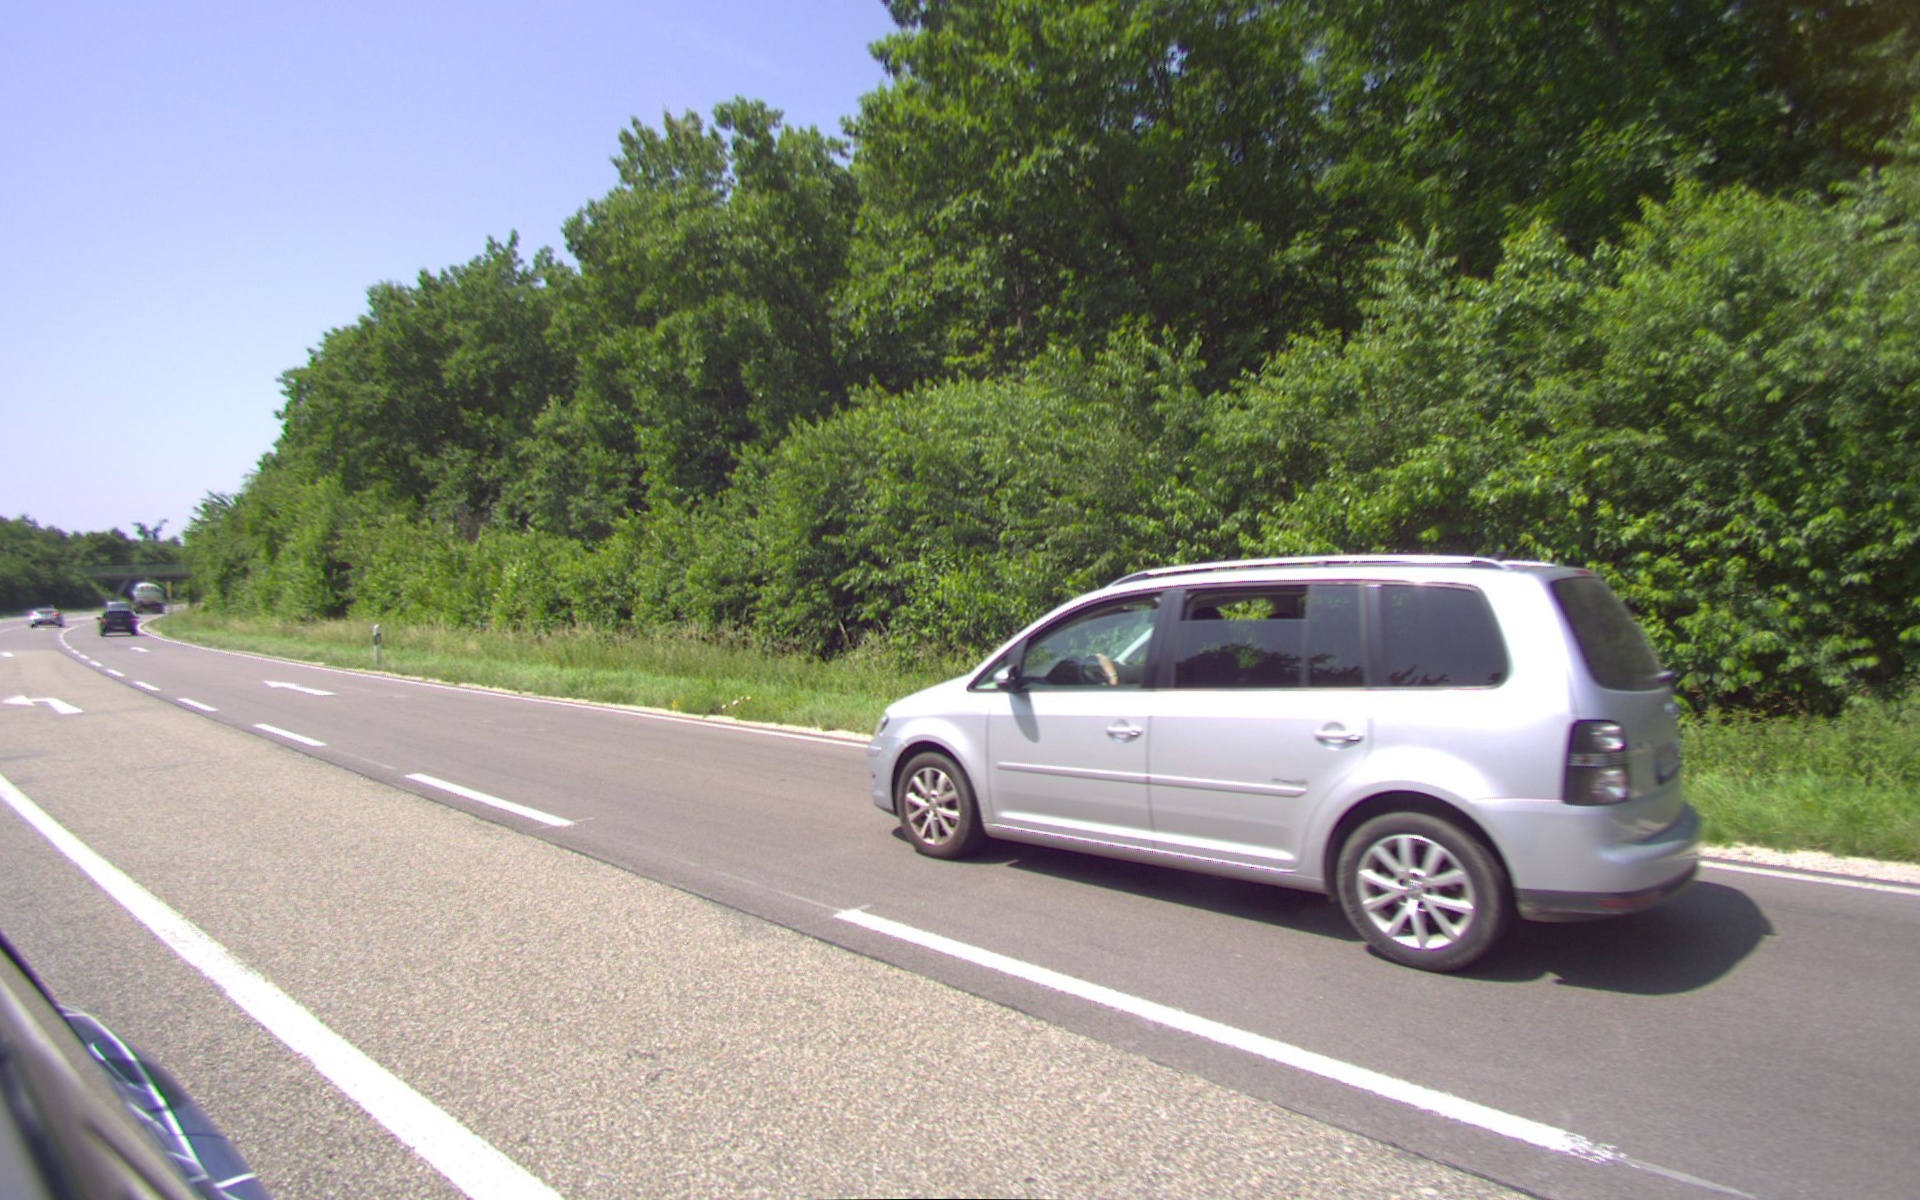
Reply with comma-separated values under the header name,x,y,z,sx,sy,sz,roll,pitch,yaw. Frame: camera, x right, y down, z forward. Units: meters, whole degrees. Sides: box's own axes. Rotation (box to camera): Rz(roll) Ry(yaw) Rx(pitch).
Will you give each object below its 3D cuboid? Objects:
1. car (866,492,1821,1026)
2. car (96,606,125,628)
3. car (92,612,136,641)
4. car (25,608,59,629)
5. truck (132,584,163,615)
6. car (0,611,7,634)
name,x,y,z,sx,sy,sz,roll,pitch,yaw
car,1.631,0.502,5.189,4.209,1.649,1.784,-1,0,41
car,-74.157,1.487,88.304,1.820,1.792,4.900,-1,0,-42
car,-47.332,1.465,56.604,1.596,1.513,3.554,-1,0,-45
car,-69.137,1.363,76.233,1.687,1.430,4.105,-1,1,-40
truck,-99.423,-0.097,123.885,2.592,3.698,8.816,-1,0,-36
car,-82.321,1.963,83.448,2.008,1.921,5.171,0,2,33
